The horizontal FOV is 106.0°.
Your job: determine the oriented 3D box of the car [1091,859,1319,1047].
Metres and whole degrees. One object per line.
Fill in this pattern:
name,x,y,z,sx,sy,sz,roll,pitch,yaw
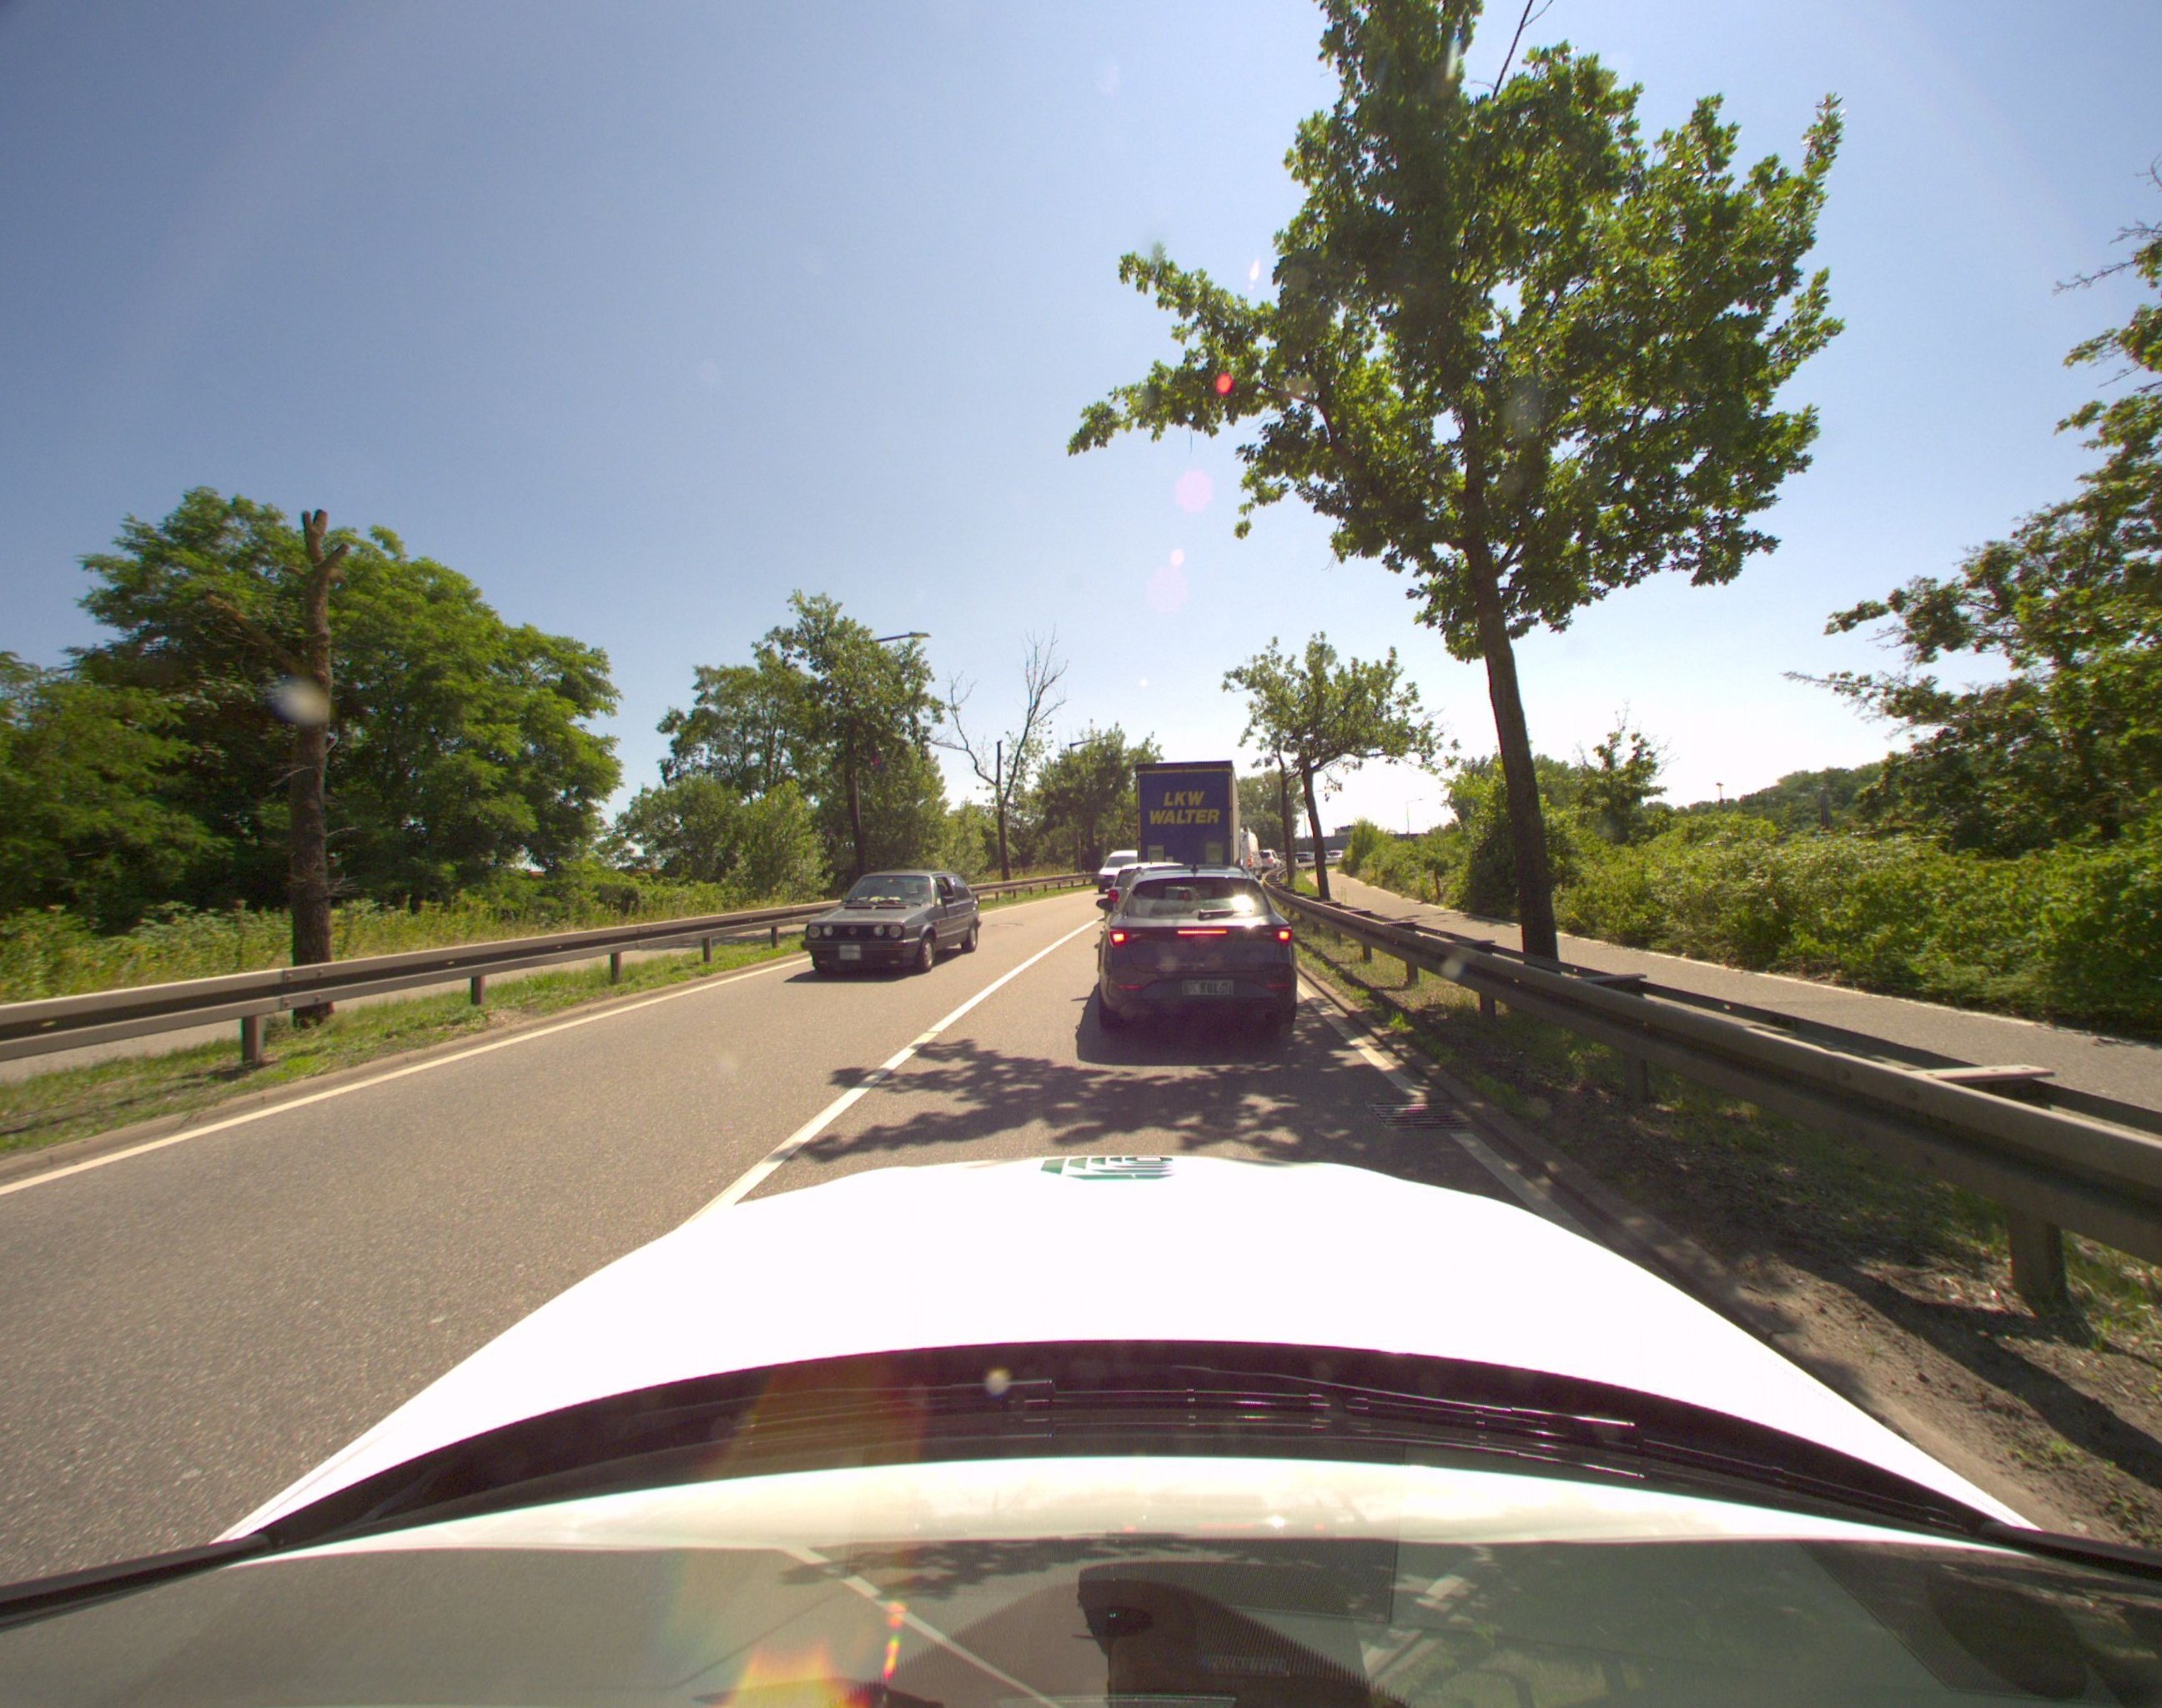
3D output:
car,1.023,0.779,8.258,1.737,1.432,3.881,-1,0,2

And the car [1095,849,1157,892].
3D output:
car,2.038,0.702,35.704,1.732,1.763,4.408,-1,0,16

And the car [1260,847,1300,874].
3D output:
car,14.025,0.446,57.239,1.976,1.808,4.872,-1,0,23

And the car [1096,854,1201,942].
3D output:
car,1.276,0.778,16.112,1.802,1.508,4.003,-1,0,3

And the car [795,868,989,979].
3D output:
car,-2.671,0.930,12.461,1.547,1.372,3.897,-1,0,8

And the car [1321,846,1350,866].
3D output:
car,23.932,0.216,76.604,1.975,1.768,4.781,-1,-2,25

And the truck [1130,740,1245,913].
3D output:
truck,4.388,-0.666,29.544,2.931,4.449,16.849,-1,0,11

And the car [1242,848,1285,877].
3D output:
car,11.457,0.531,50.956,1.977,1.712,4.643,-1,0,20

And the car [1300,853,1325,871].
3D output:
car,24.065,0.795,84.574,1.729,1.763,4.462,-1,0,26

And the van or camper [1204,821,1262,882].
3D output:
van or camper,8.091,-0.109,42.986,2.448,2.998,6.111,-1,0,15
